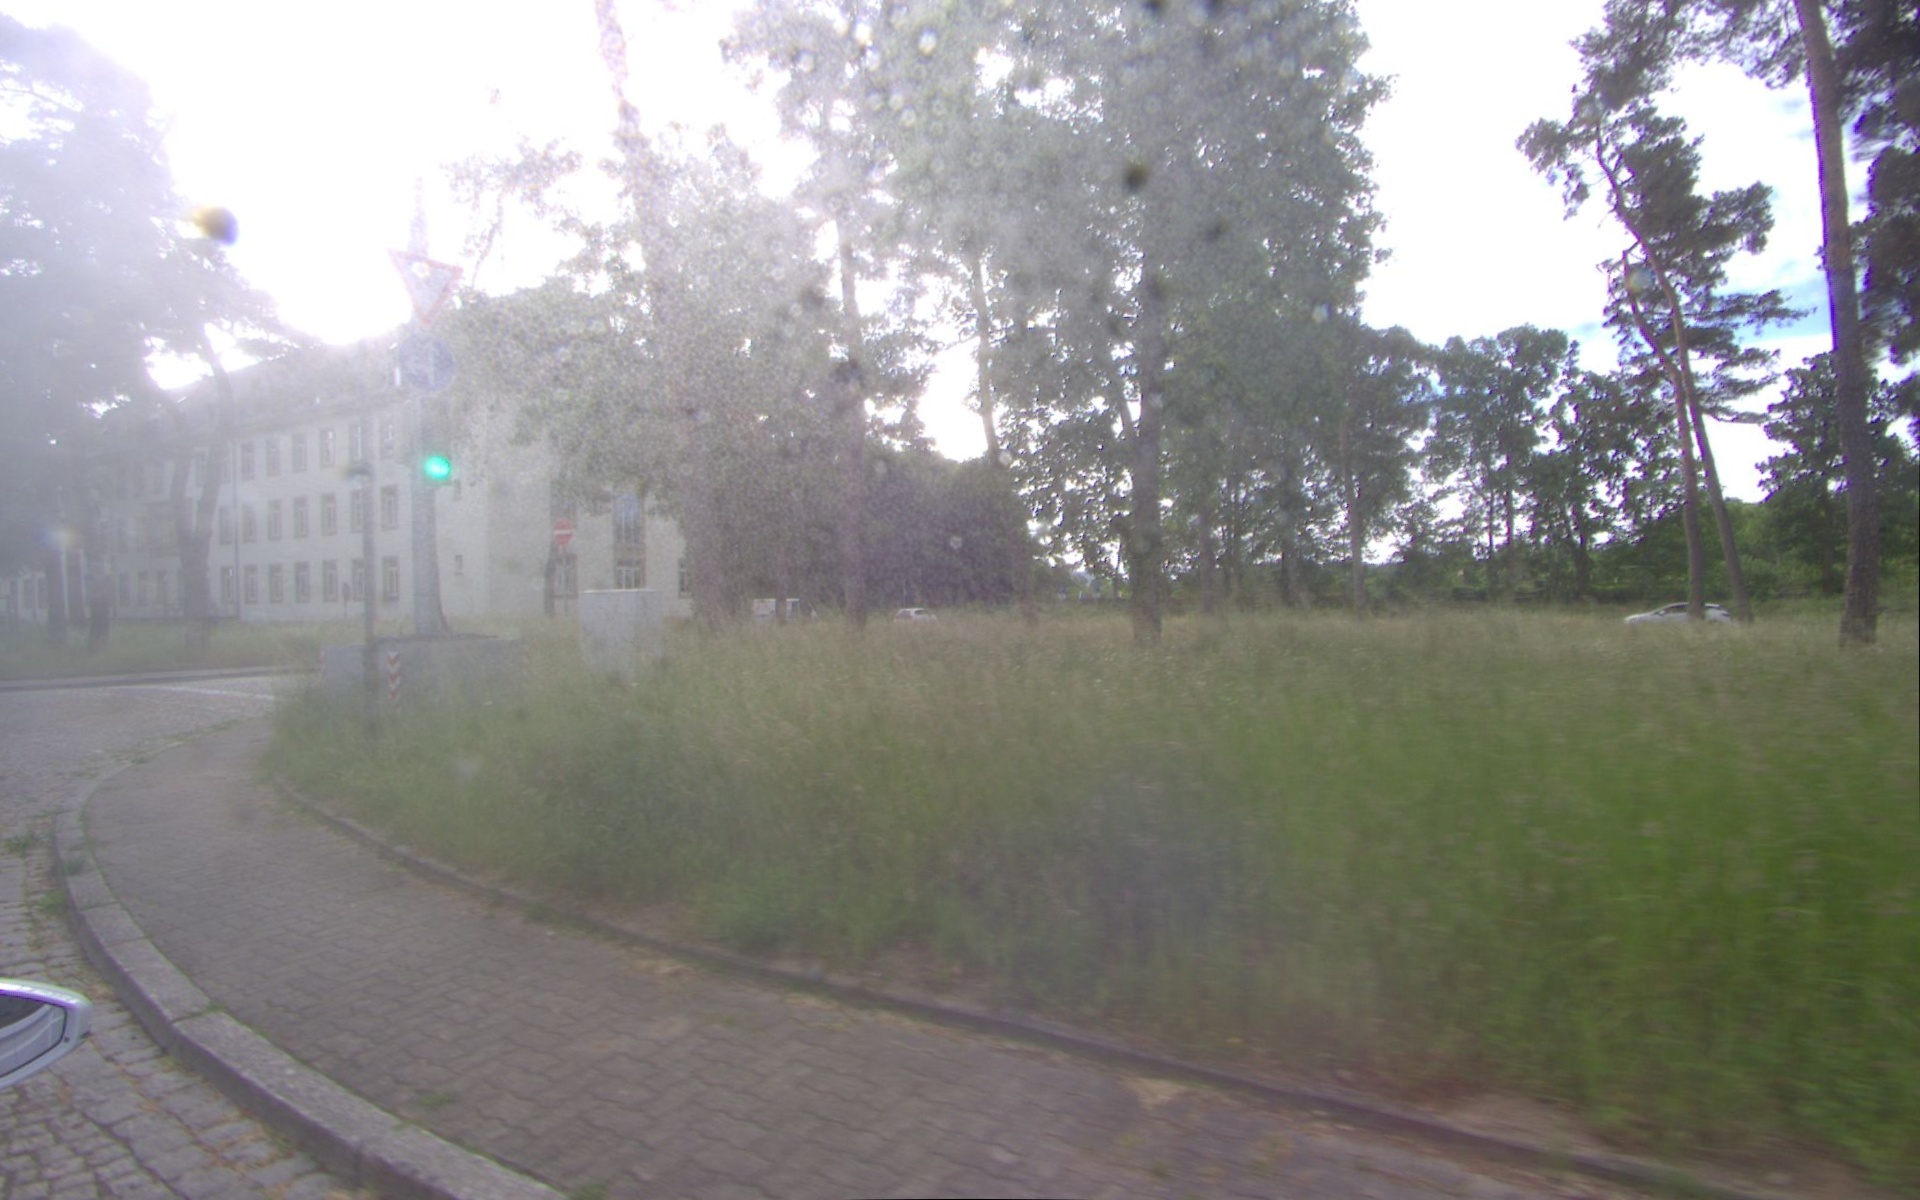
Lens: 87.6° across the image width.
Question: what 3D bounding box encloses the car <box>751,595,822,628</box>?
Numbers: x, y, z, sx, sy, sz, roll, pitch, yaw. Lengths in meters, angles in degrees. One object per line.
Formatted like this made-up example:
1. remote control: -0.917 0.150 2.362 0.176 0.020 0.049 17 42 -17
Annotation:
1. car: -12.535 0.798 72.851 2.182 2.318 5.169 0 0 33

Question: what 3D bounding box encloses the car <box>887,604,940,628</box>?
1. car: -3.105 1.079 67.896 1.972 1.527 3.474 0 0 32

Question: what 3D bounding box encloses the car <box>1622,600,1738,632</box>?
1. car: 33.463 0.750 46.709 4.193 1.435 1.879 -1 0 30
